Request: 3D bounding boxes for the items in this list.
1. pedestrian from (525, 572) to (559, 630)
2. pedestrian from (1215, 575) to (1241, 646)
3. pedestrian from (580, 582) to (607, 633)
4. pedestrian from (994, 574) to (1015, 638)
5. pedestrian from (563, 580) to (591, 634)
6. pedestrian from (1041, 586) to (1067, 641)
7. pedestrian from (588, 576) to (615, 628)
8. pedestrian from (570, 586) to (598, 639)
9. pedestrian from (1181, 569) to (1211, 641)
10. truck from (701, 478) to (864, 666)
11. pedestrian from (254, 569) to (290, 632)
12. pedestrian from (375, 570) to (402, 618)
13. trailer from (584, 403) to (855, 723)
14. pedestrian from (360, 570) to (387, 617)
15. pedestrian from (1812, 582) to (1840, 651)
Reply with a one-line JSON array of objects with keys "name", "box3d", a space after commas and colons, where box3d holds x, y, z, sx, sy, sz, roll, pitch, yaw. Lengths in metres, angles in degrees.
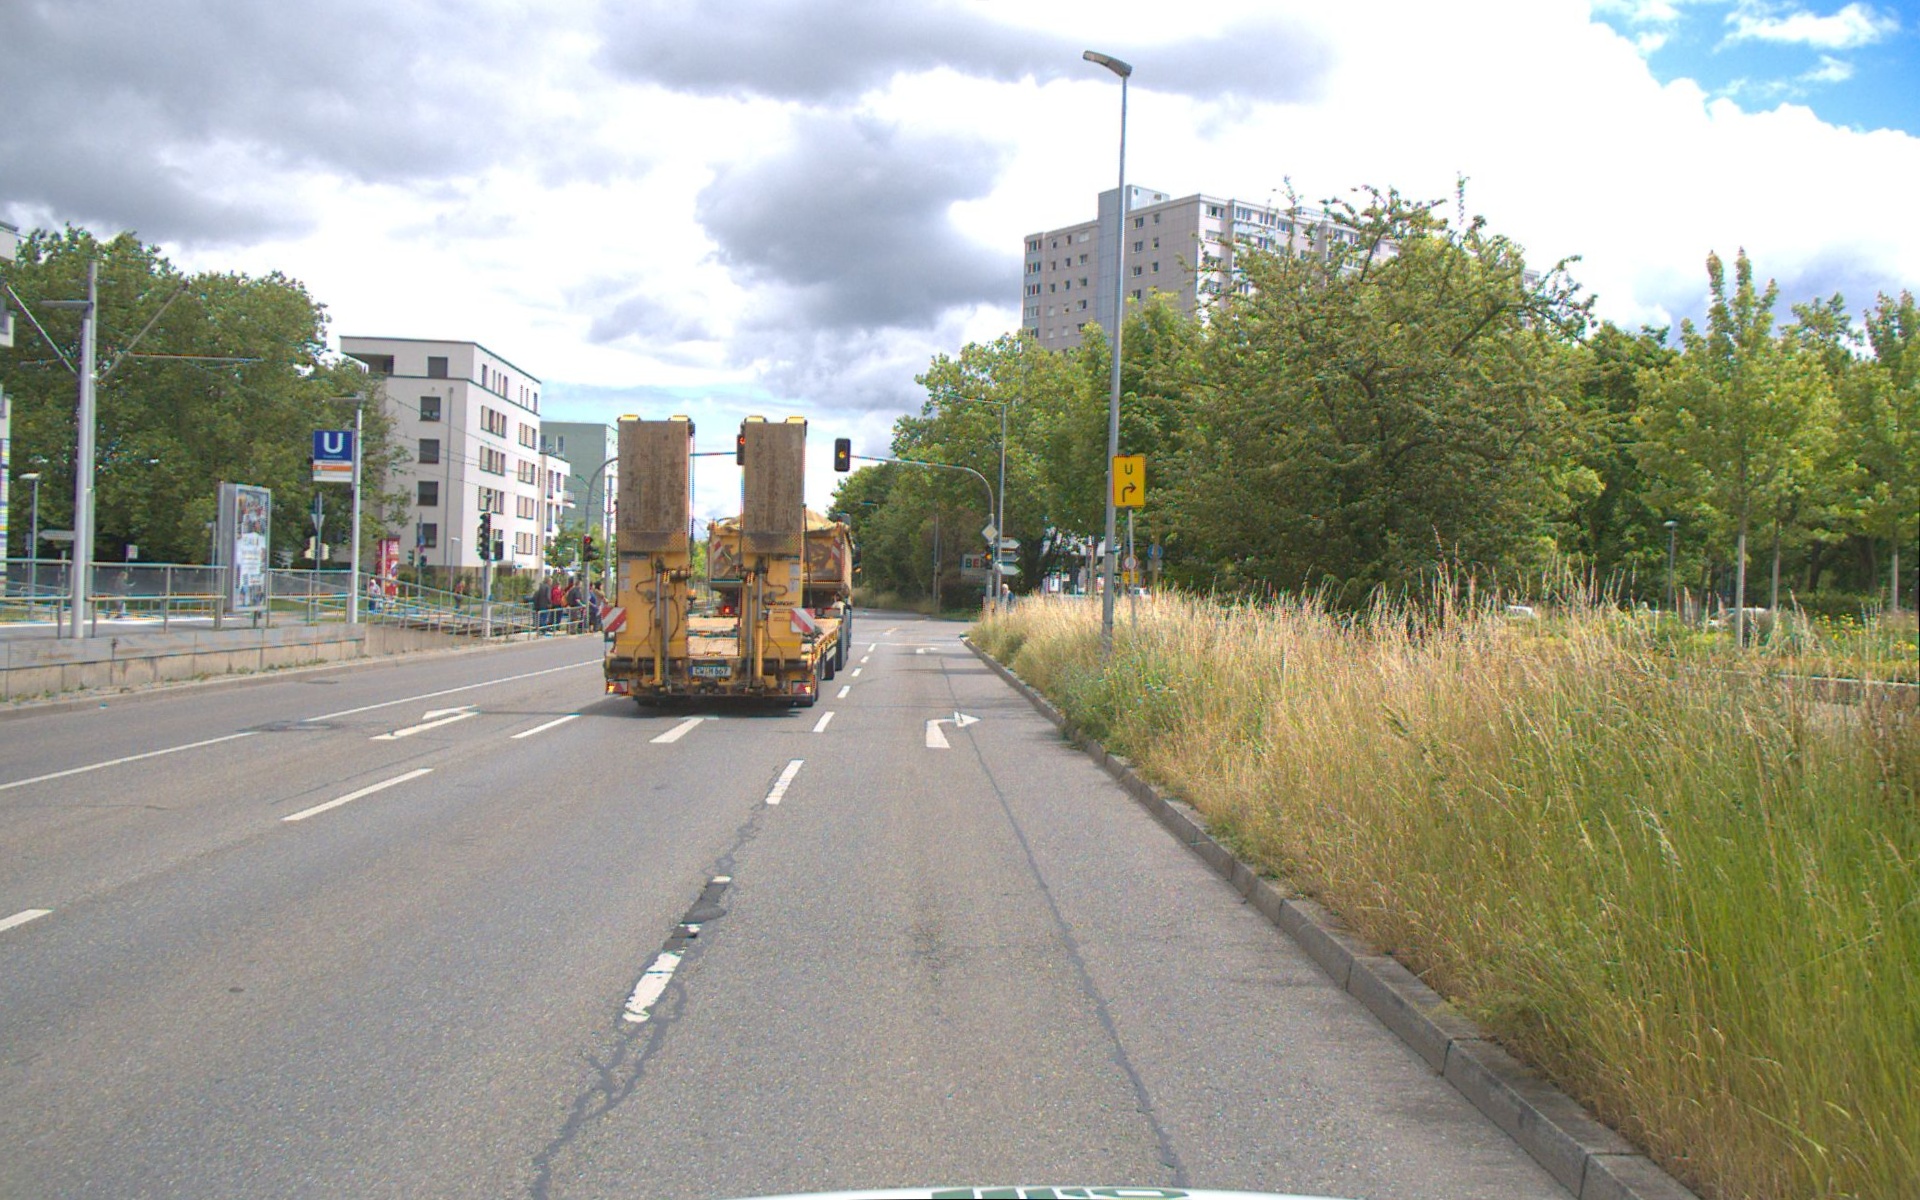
[{"name": "pedestrian", "box3d": [-12.606, 0.031, 49.904, 0.804, 1.697, 0.683, 2, 0, -1]}, {"name": "pedestrian", "box3d": [7.821, 0.306, 48.268, 0.551, 2.049, 0.490, 2, -1, -11]}, {"name": "pedestrian", "box3d": [-11.894, 0.240, 53.700, 0.668, 1.630, 0.822, 2, 0, -3]}, {"name": "pedestrian", "box3d": [1.443, 0.208, 53.695, 0.551, 2.049, 0.490, 2, -1, -11]}, {"name": "pedestrian", "box3d": [-11.837, 0.219, 51.087, 0.668, 1.630, 0.822, 2, 0, -3]}, {"name": "pedestrian", "box3d": [2.964, 0.422, 51.932, 0.614, 1.682, 0.562, 1, -1, 24]}, {"name": "pedestrian", "box3d": [-11.865, 0.068, 54.756, 0.668, 1.699, 0.822, 2, 0, -3]}, {"name": "pedestrian", "box3d": [-11.854, 0.381, 52.131, 0.668, 1.630, 0.822, 2, 0, -3]}, {"name": "pedestrian", "box3d": [6.830, 0.155, 47.877, 0.659, 2.049, 0.633, 2, -1, -11]}, {"name": "truck", "box3d": [-3.507, -0.546, 34.569, 2.698, 3.371, 8.348, 2, 0, -2]}, {"name": "pedestrian", "box3d": [-25.047, 0.025, 60.216, 0.897, 2.243, 0.882, 2, 0, -2]}, {"name": "pedestrian", "box3d": [-26.494, -0.285, 76.653, 0.897, 2.171, 0.934, 2, 0, -2]}, {"name": "trailer", "box3d": [-3.131, -0.480, 24.761, 2.674, 3.621, 11.250, 2, 0, -2]}, {"name": "pedestrian", "box3d": [-27.442, -0.302, 77.357, 0.897, 2.171, 0.934, 2, 0, -2]}, {"name": "pedestrian", "box3d": [25.306, 0.489, 48.332, 0.564, 1.985, 0.405, 2, 0, -2]}]
